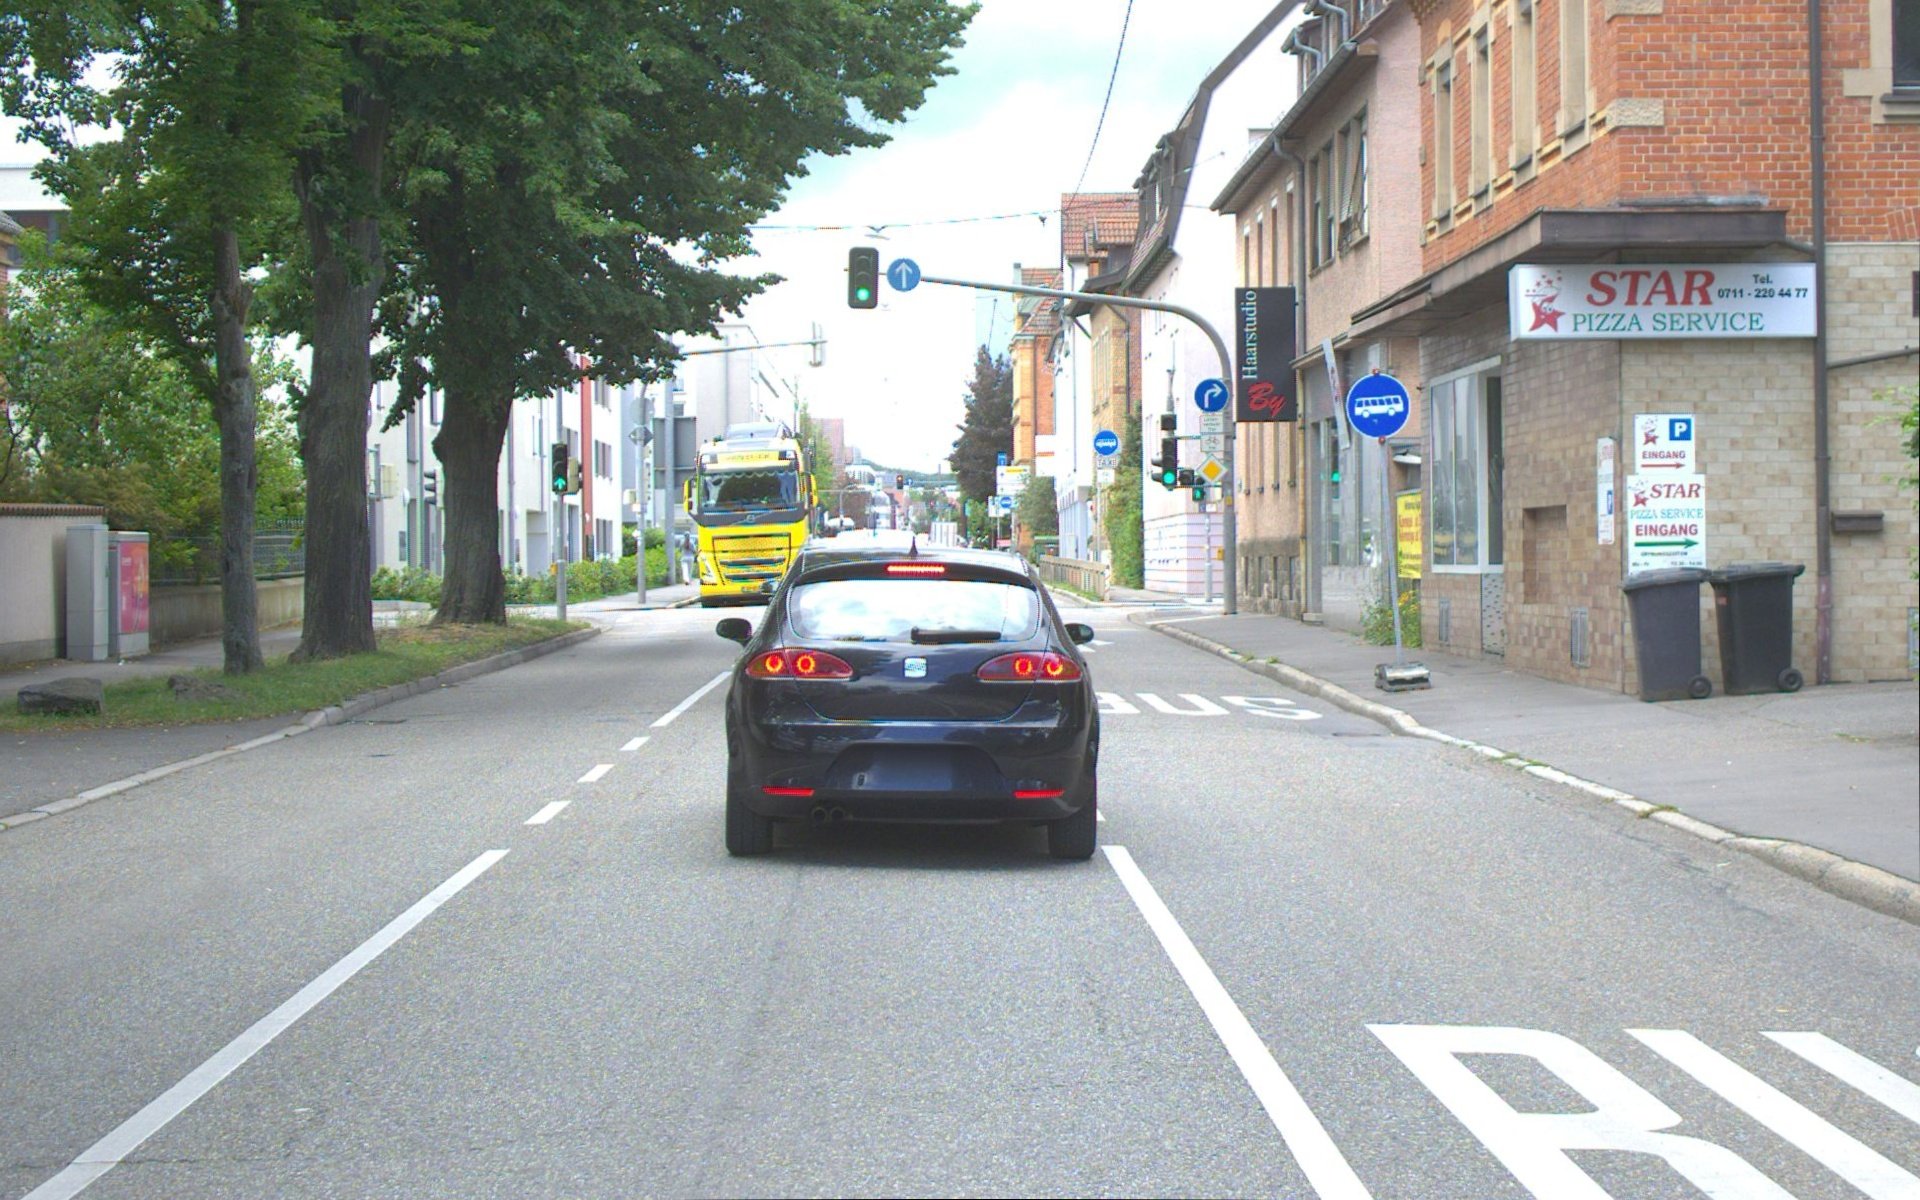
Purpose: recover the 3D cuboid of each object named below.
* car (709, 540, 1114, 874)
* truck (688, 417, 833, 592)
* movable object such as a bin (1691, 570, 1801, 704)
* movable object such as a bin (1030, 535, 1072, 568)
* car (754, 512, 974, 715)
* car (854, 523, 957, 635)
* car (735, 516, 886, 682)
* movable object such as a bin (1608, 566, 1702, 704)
[{"bbox_3d":[-0.244,0.454,17.161,1.759,1.437,4.000,1,0,-1],"label":"car"},{"bbox_3d":[-4.506,-2.113,78.882,2.843,3.769,7.669,1,0,0],"label":"truck"},{"bbox_3d":[6.404,0.293,28.033,0.698,1.055,0.723,-2,0,0],"label":"movable object such as a bin"},{"bbox_3d":[4.139,-2.195,156.197,1.818,1.432,1.993,1,0,0],"label":"movable object such as a bin"},{"bbox_3d":[-0.857,0.094,31.198,1.842,1.687,4.000,1,0,-1],"label":"car"},{"bbox_3d":[-0.870,-0.338,54.292,1.531,1.687,3.693,1,0,-1],"label":"car"},{"bbox_3d":[-1.594,-0.028,37.602,1.531,1.687,3.693,1,0,-1],"label":"car"},{"bbox_3d":[5.662,0.279,28.020,0.606,1.097,0.622,-2,0,0],"label":"movable object such as a bin"}]
